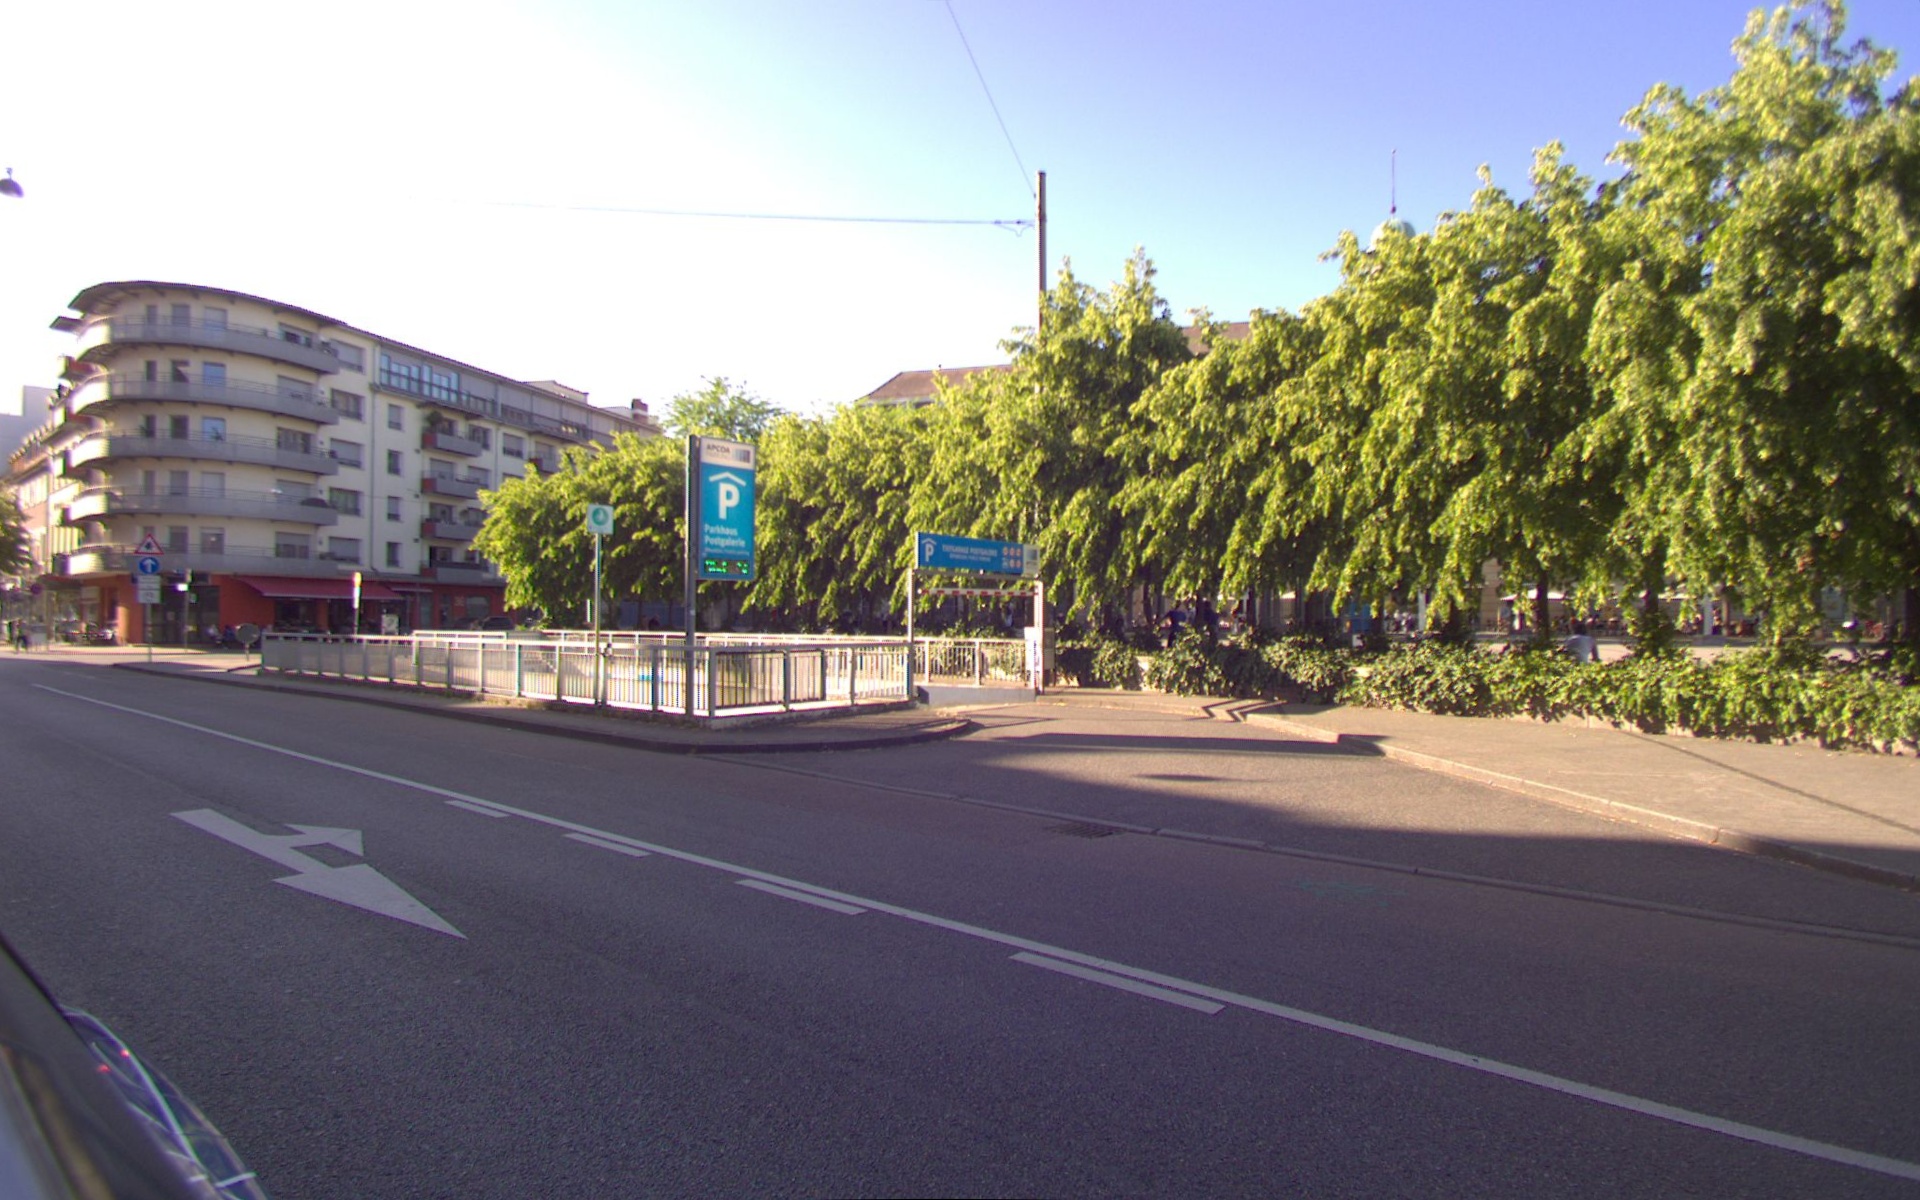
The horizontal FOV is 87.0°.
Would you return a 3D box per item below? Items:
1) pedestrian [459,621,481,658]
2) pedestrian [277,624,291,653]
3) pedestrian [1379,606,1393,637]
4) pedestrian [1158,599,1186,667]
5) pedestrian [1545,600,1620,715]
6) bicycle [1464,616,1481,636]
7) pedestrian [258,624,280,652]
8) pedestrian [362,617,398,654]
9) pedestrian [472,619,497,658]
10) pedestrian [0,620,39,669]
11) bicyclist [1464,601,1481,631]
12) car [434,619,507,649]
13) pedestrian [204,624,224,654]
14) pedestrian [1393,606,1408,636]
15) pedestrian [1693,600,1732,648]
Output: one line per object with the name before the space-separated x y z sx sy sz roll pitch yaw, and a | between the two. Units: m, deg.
pedestrian | -22.913 1.857 47.362 0.697 1.719 0.667 -1 -1 33
pedestrian | -35.321 2.011 52.912 0.573 1.501 0.794 0 -1 -36
pedestrian | 27.558 1.389 65.406 0.751 1.948 0.938 -1 -1 20
pedestrian | 5.385 0.834 25.657 0.672 1.683 0.843 -1 -1 13
pedestrian | 9.920 0.889 16.124 0.885 1.771 0.738 0 -1 -39
bicycle | 25.489 1.293 50.303 0.587 0.961 1.885 -1 -2 32
pedestrian | -36.742 2.016 53.792 0.782 1.473 0.582 0 -1 3
pedestrian | -32.362 1.997 56.469 1.251 2.029 1.226 -1 -1 19
pedestrian | -22.491 1.815 47.878 0.753 1.819 0.748 -1 -1 25
pedestrian | -40.024 1.866 42.909 1.003 2.029 1.203 -1 0 -16
bicyclist | 25.513 0.800 50.349 0.672 1.439 0.690 -1 -1 35
car | -30.531 2.120 63.223 1.983 1.763 3.977 -1 -1 17
pedestrian | -37.744 1.978 51.222 0.780 1.472 0.583 0 -1 -40
pedestrian | 28.258 1.344 64.911 0.751 1.948 0.938 -1 -1 20
pedestrian | 28.204 0.909 37.922 0.889 1.771 0.734 -1 -1 10
